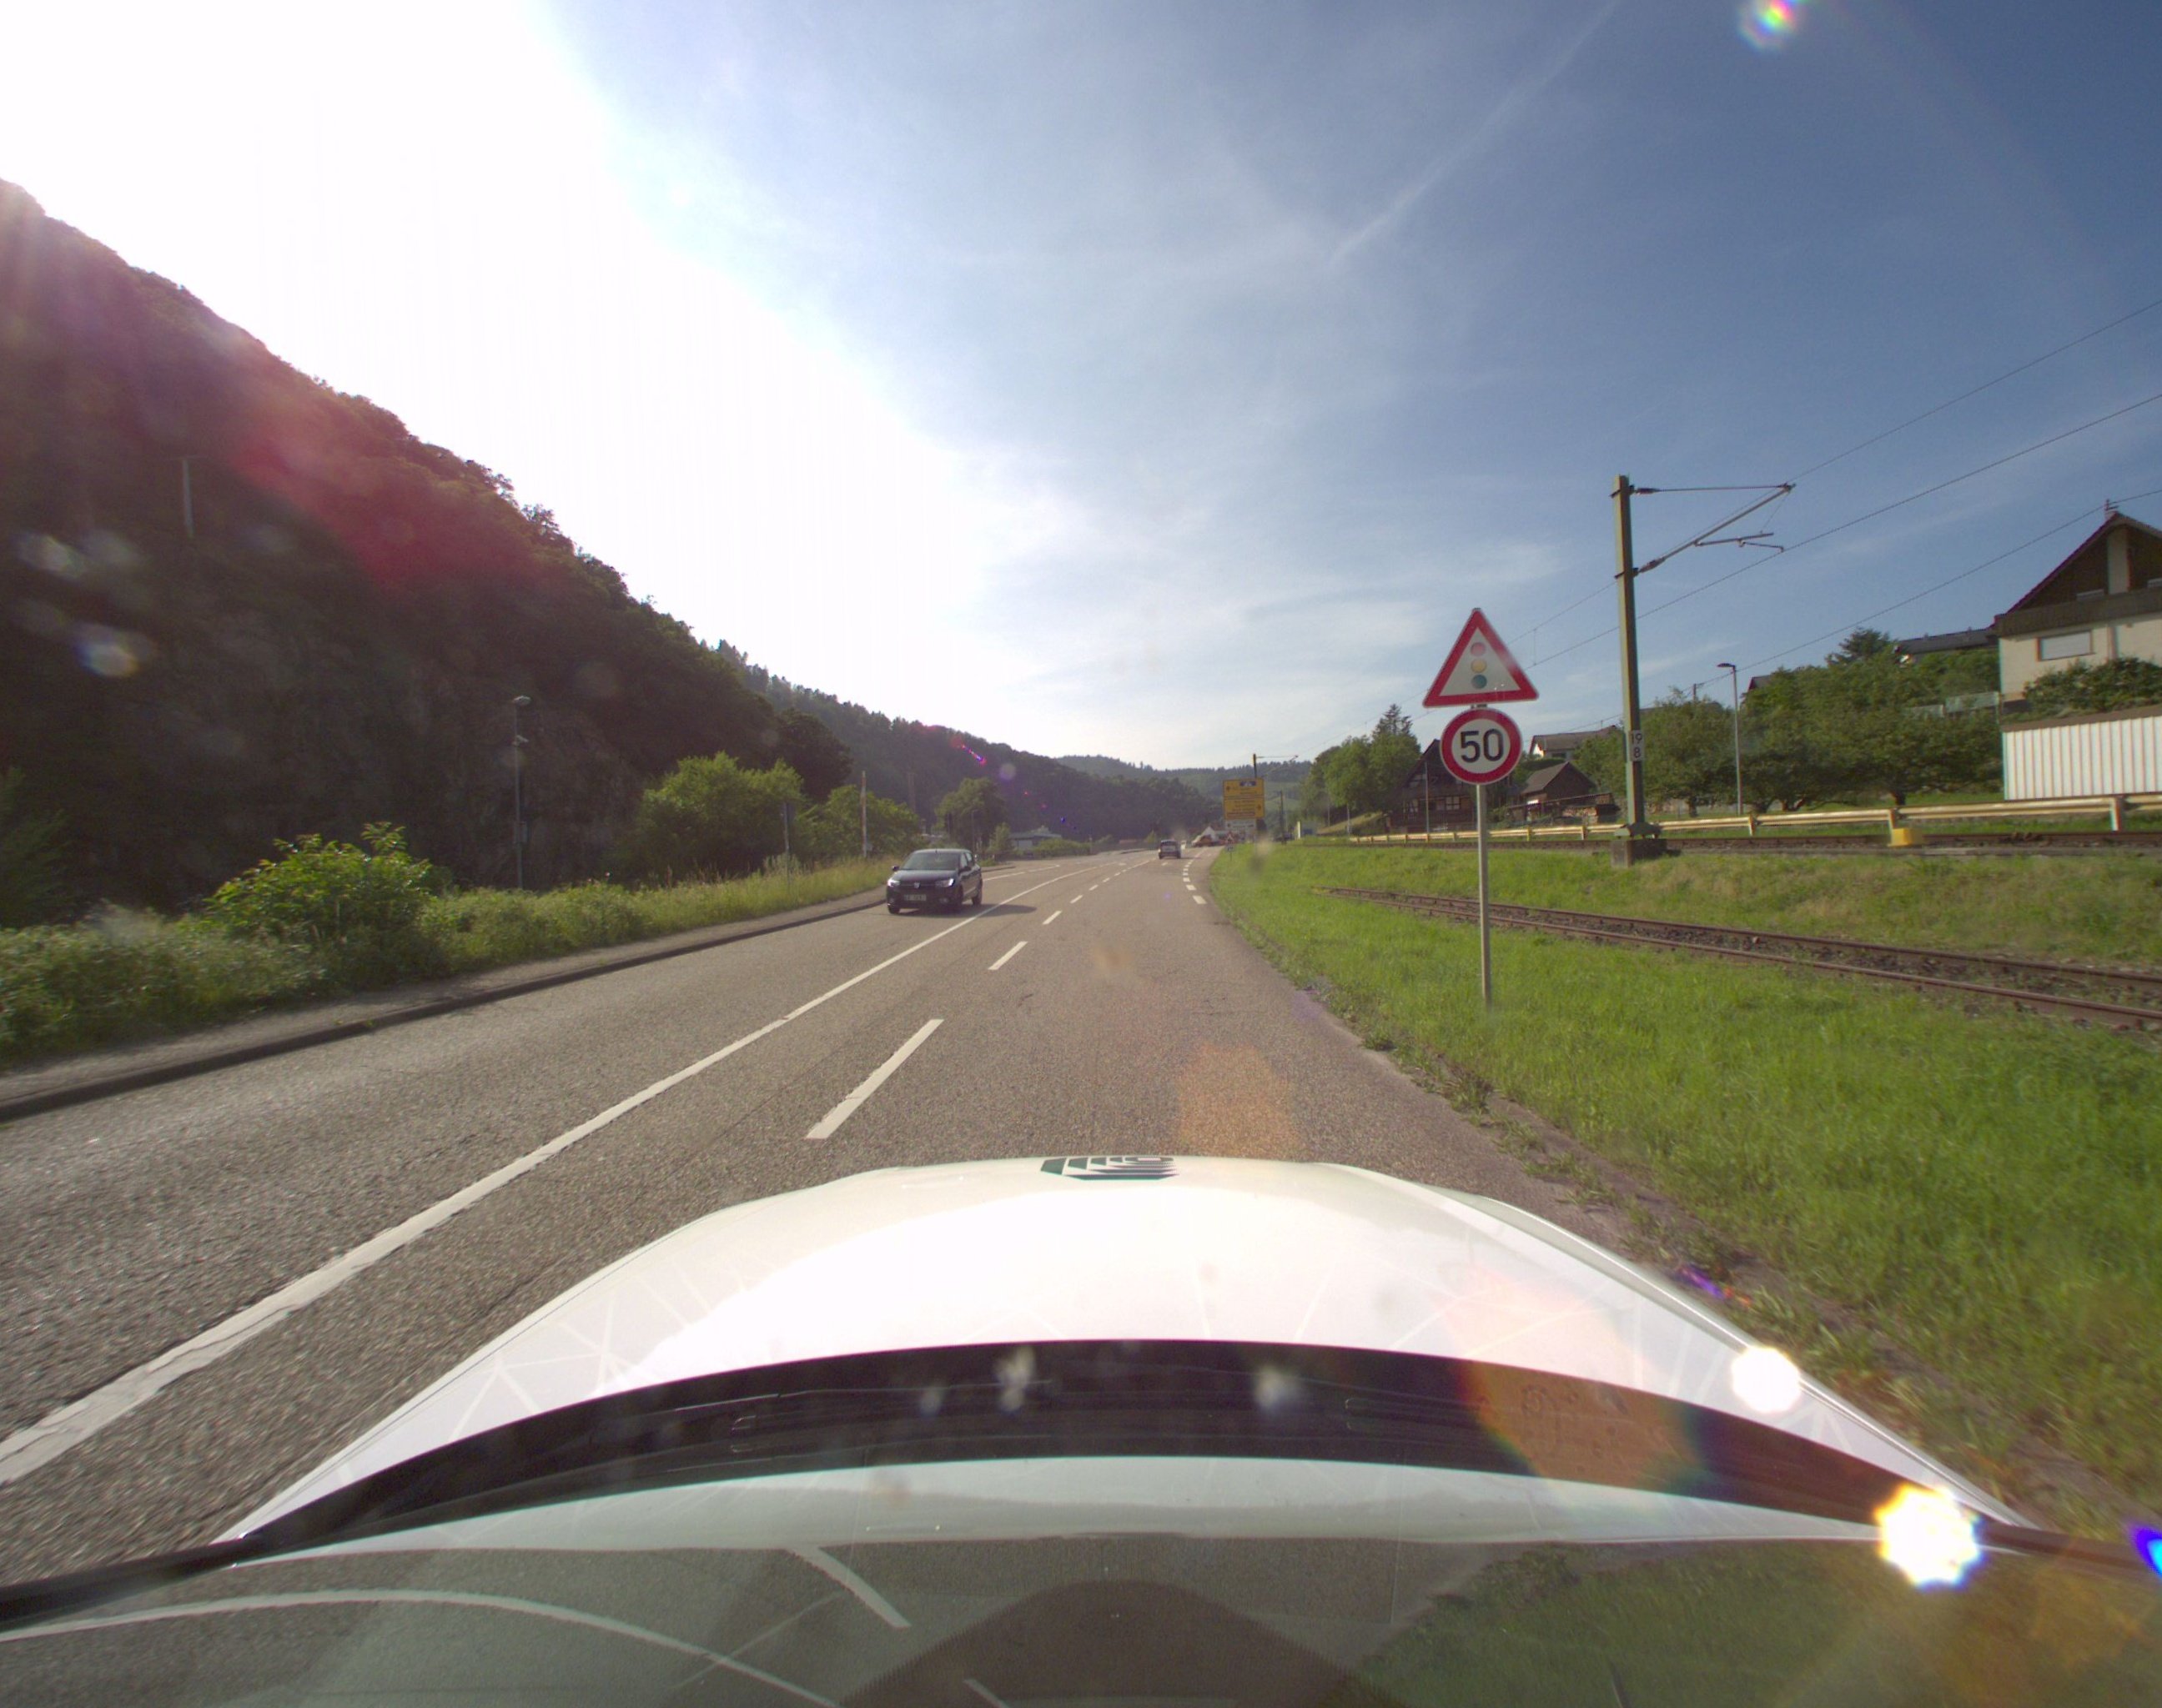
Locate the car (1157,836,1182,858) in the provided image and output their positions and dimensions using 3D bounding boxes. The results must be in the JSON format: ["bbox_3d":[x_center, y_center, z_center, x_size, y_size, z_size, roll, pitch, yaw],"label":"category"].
[{"bbox_3d":[7.731,-0.580,71.147,1.984,1.723,3.997,-4,0,6],"label":"car"}]

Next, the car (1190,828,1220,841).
[{"bbox_3d":[23.250,-3.587,152.544,5.307,2.013,1.983,-5,0,-26],"label":"car"}]

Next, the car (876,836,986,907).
[{"bbox_3d":[-3.637,0.366,20.547,1.840,1.585,4.318,-1,1,2],"label":"car"}]
